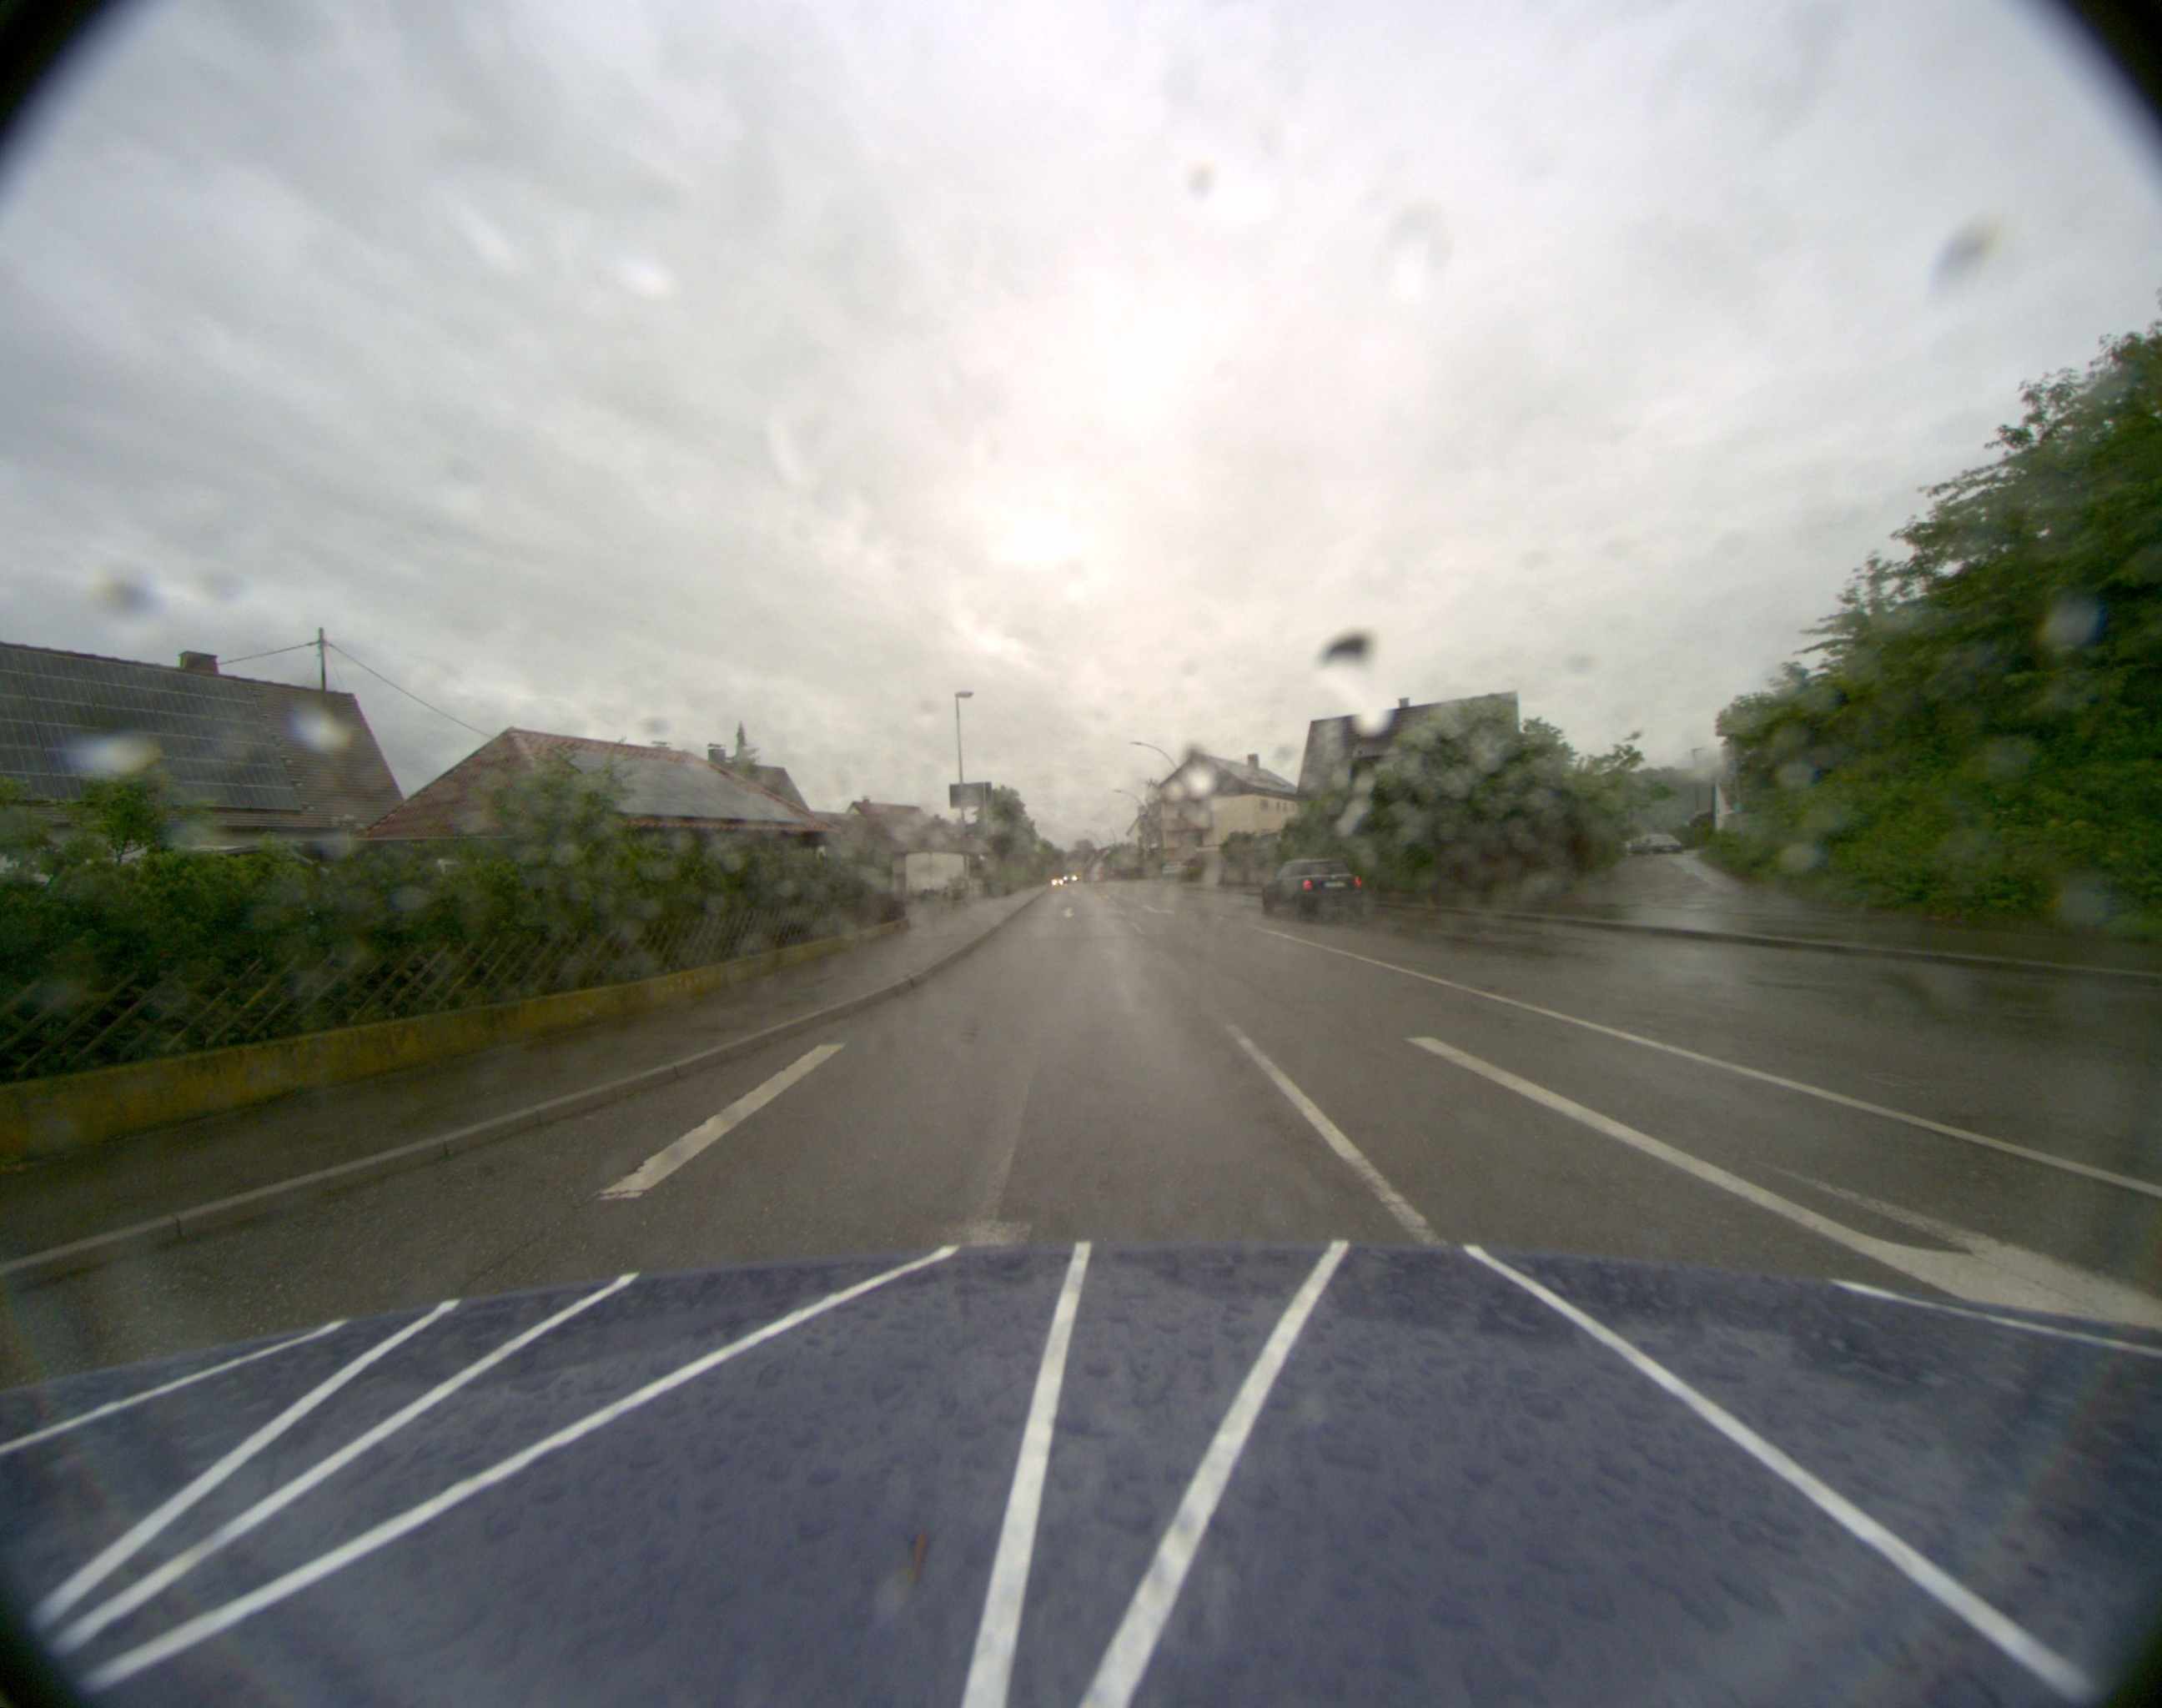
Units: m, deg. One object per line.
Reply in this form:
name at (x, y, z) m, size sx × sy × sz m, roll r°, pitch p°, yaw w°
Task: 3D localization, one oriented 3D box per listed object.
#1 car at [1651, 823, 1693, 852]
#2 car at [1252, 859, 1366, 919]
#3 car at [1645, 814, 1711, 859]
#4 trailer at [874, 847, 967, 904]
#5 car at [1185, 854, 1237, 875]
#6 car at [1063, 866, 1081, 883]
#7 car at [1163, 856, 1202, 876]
car at (41.127, -1.150, 52.835) m, size 1.995 × 1.848 × 4.008 m, roll -3°, pitch 0°, yaw 41°
car at (5.954, 0.868, 20.249) m, size 1.681 × 1.379 × 3.459 m, roll -3°, pitch 0°, yaw -5°
car at (22.969, -0.687, 29.195) m, size 1.706 × 1.579 × 3.669 m, roll -2°, pitch 0°, yaw 42°
trailer at (-7.701, 0.985, 37.017) m, size 1.645 × 2.502 × 4.712 m, roll -3°, pitch -1°, yaw 28°
car at (10.506, 0.852, 61.331) m, size 3.661 × 1.510 × 1.758 m, roll -3°, pitch 0°, yaw 35°
car at (-1.139, 2.643, 98.562) m, size 1.998 × 2.002 × 4.000 m, roll -3°, pitch 0°, yaw 1°
car at (8.964, 1.053, 67.113) m, size 1.864 × 1.510 × 4.007 m, roll -3°, pitch 0°, yaw 32°
